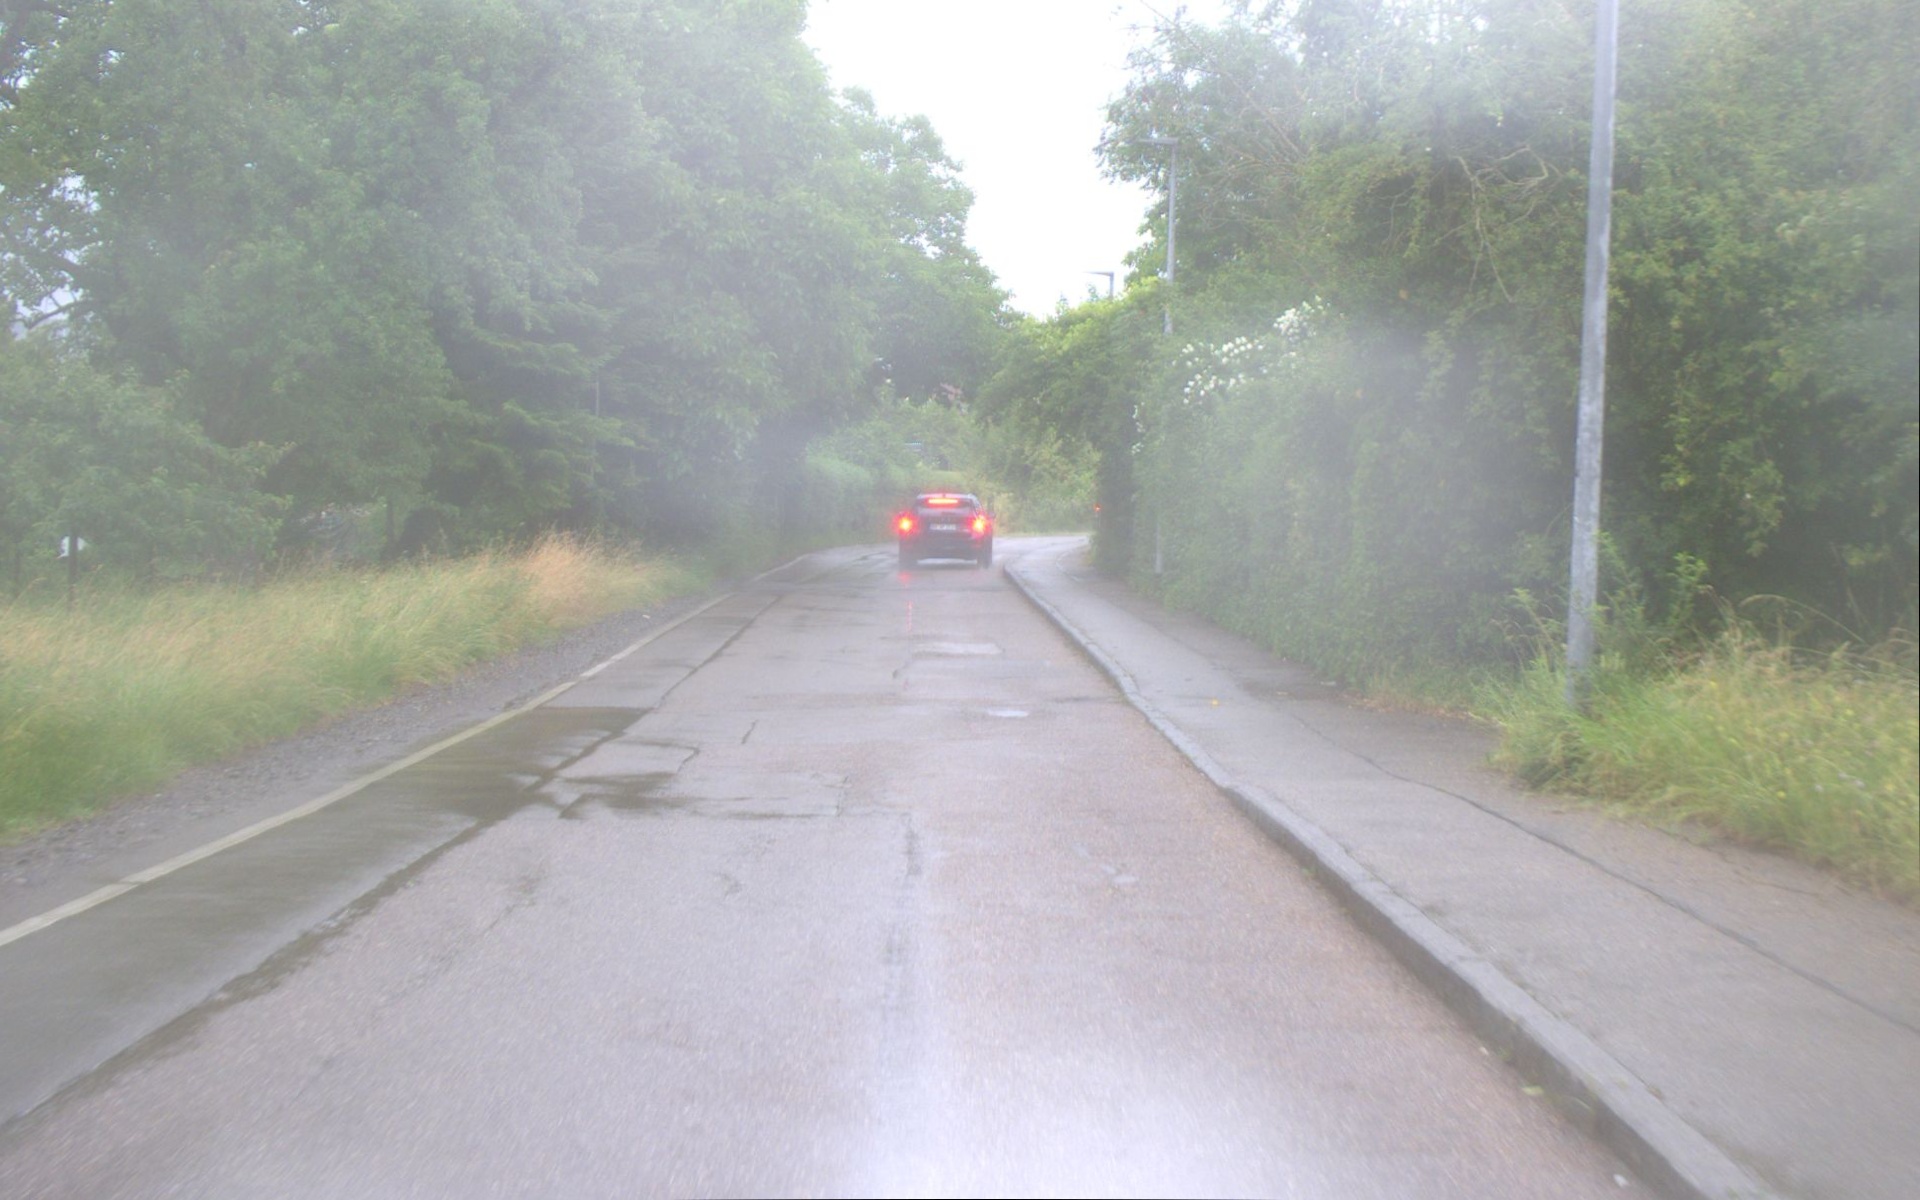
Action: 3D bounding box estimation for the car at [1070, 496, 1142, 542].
[{"bbox_3d":[4.736,-2.608,111.147,1.636,1.409,3.542,2,1,14],"label":"car"}]

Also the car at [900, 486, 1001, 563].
[{"bbox_3d":[-0.169,-1.478,68.196,1.635,1.445,3.544,2,1,5],"label":"car"}]
